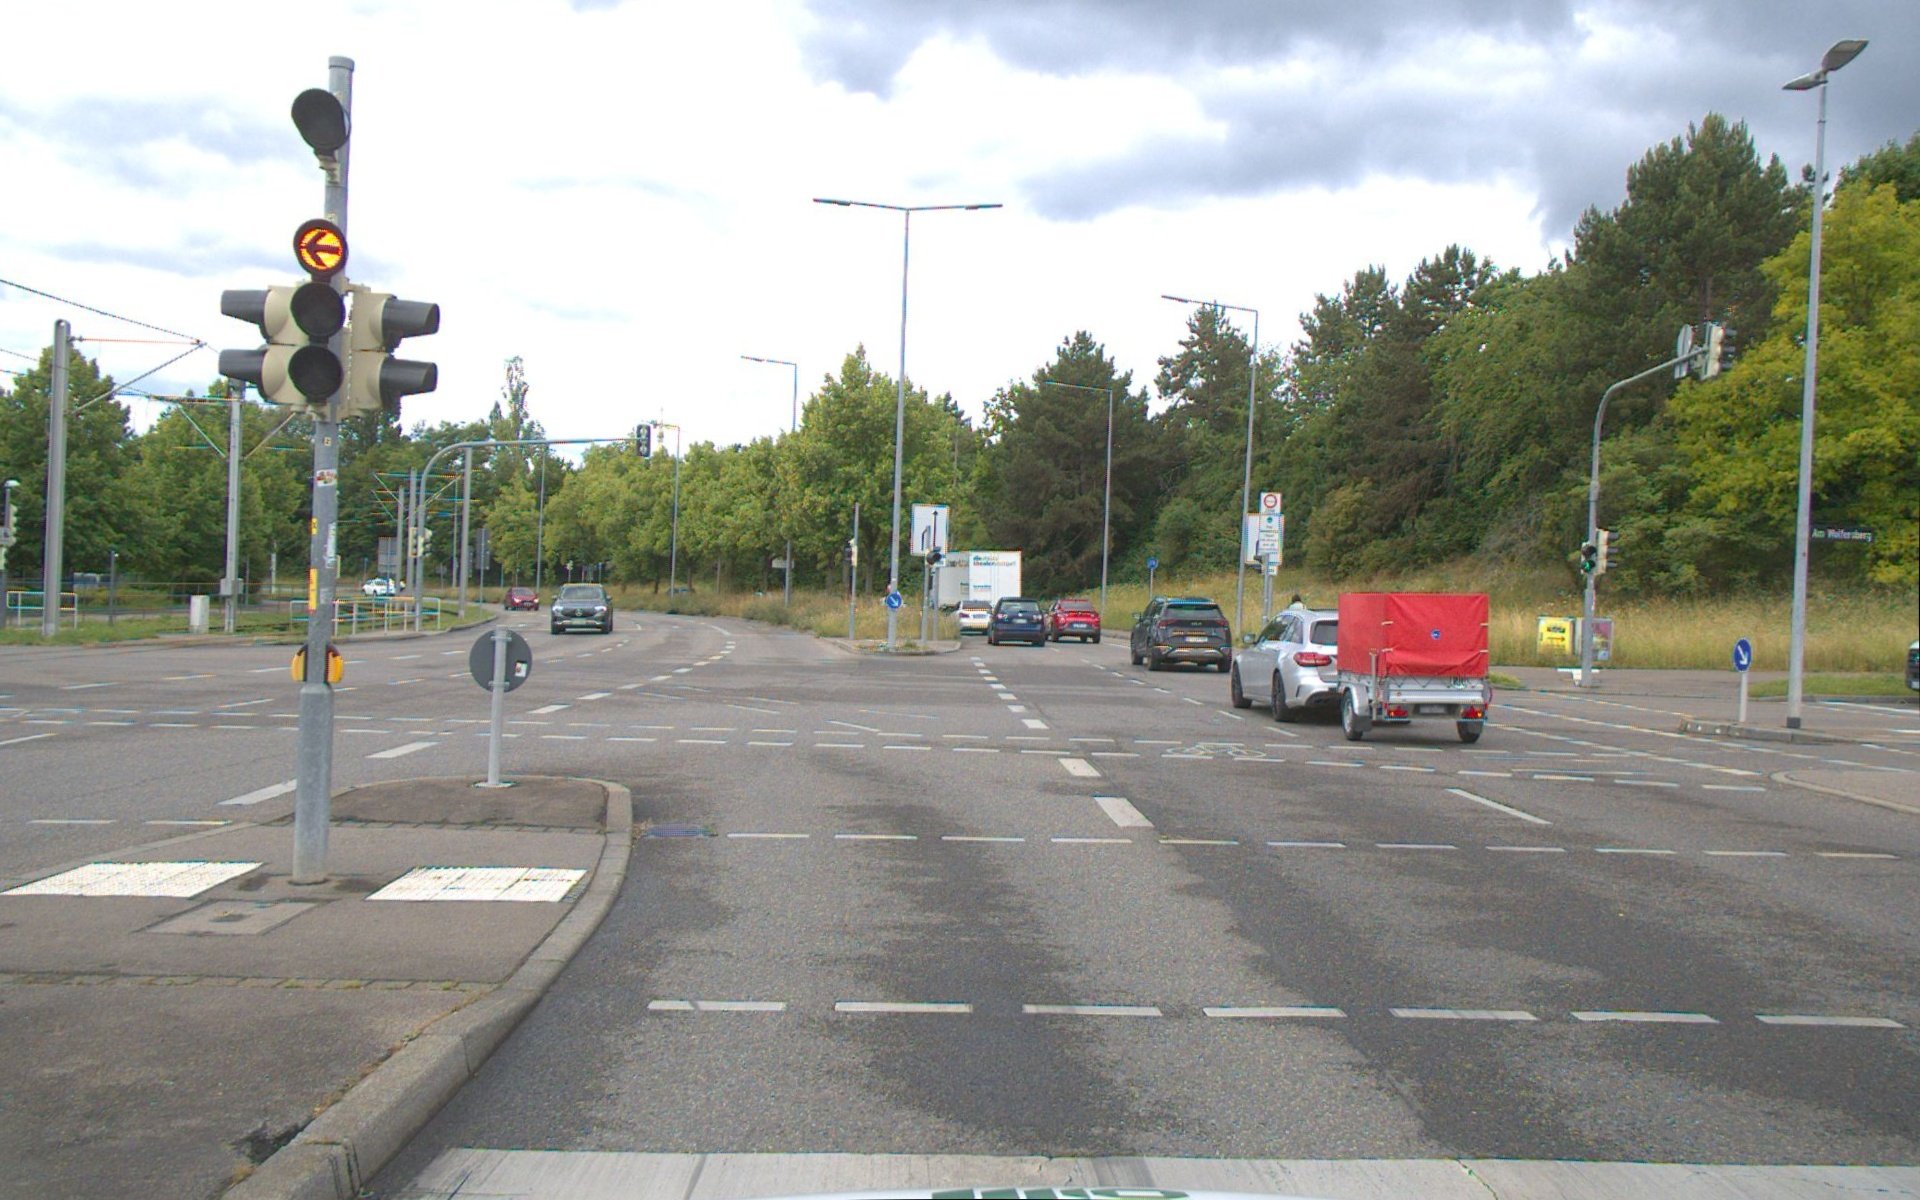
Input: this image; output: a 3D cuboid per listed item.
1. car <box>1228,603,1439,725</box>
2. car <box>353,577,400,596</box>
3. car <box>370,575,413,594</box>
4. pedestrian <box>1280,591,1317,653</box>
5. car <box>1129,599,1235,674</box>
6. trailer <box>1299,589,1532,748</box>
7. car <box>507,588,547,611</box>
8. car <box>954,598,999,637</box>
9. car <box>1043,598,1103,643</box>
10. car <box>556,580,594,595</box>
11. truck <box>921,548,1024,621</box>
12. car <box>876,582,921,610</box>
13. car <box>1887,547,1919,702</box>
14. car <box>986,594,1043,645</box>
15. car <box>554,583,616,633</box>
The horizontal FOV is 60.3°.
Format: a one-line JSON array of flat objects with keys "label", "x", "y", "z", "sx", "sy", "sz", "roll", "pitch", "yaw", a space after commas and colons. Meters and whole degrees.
[{"label": "car", "x": 4.989, "y": 0.798, "z": 22.699, "sx": 1.742, "sy": 1.446, "sz": 4.457, "roll": 1, "pitch": 0, "yaw": -2}, {"label": "car", "x": -50.055, "y": -1.152, "z": 141.828, "sx": 4.342, "sy": 1.657, "sz": 1.826, "roll": 0, "pitch": 0, "yaw": 39}, {"label": "car", "x": -56.674, "y": -1.527, "z": 164.909, "sx": 3.915, "sy": 1.780, "sz": 1.995, "roll": 1, "pitch": 0, "yaw": 32}, {"label": "pedestrian", "x": 9.217, "y": 0.603, "z": 45.076, "sx": 0.797, "sy": 1.656, "sz": 0.790, "roll": 1, "pitch": 0, "yaw": -1}, {"label": "car", "x": 5.039, "y": 0.791, "z": 38.052, "sx": 1.742, "sy": 1.573, "sz": 4.023, "roll": 1, "pitch": 0, "yaw": -2}, {"label": "trailer", "x": 5.116, "y": 0.718, "z": 18.955, "sx": 1.729, "sy": 1.644, "sz": 3.043, "roll": 1, "pitch": 0, "yaw": -2}, {"label": "car", "x": -28.022, "y": -0.031, "z": 106.944, "sx": 1.758, "sy": 1.468, "sz": 4.391, "roll": 0, "pitch": 0, "yaw": -24}, {"label": "car", "x": 0.673, "y": 0.710, "z": 70.955, "sx": 1.742, "sy": 1.573, "sz": 4.023, "roll": 1, "pitch": 0, "yaw": -2}, {"label": "car", "x": 4.185, "y": 0.730, "z": 61.740, "sx": 1.742, "sy": 1.573, "sz": 4.022, "roll": 1, "pitch": 0, "yaw": -3}, {"label": "car", "x": -41.021, "y": -1.296, "z": 176.243, "sx": 1.744, "sy": 1.573, "sz": 4.018, "roll": 1, "pitch": 0, "yaw": 29}, {"label": "truck", "x": 0.471, "y": -0.776, "z": 83.452, "sx": 2.692, "sy": 3.387, "sz": 11.371, "roll": 1, "pitch": 0, "yaw": -12}, {"label": "car", "x": -3.624, "y": -0.254, "z": 97.514, "sx": 1.749, "sy": 1.573, "sz": 4.008, "roll": 1, "pitch": 0, "yaw": -16}, {"label": "car", "x": 20.334, "y": 0.469, "z": 30.085, "sx": 5.772, "sy": 2.830, "sz": 2.135, "roll": 0, "pitch": 0, "yaw": -1}, {"label": "car", "x": 1.846, "y": 0.621, "z": 54.810, "sx": 1.741, "sy": 1.573, "sz": 4.027, "roll": 1, "pitch": 0, "yaw": 3}, {"label": "car", "x": -12.284, "y": 0.239, "z": 54.386, "sx": 1.746, "sy": 1.573, "sz": 4.215, "roll": 1, "pitch": 0, "yaw": -10}]
